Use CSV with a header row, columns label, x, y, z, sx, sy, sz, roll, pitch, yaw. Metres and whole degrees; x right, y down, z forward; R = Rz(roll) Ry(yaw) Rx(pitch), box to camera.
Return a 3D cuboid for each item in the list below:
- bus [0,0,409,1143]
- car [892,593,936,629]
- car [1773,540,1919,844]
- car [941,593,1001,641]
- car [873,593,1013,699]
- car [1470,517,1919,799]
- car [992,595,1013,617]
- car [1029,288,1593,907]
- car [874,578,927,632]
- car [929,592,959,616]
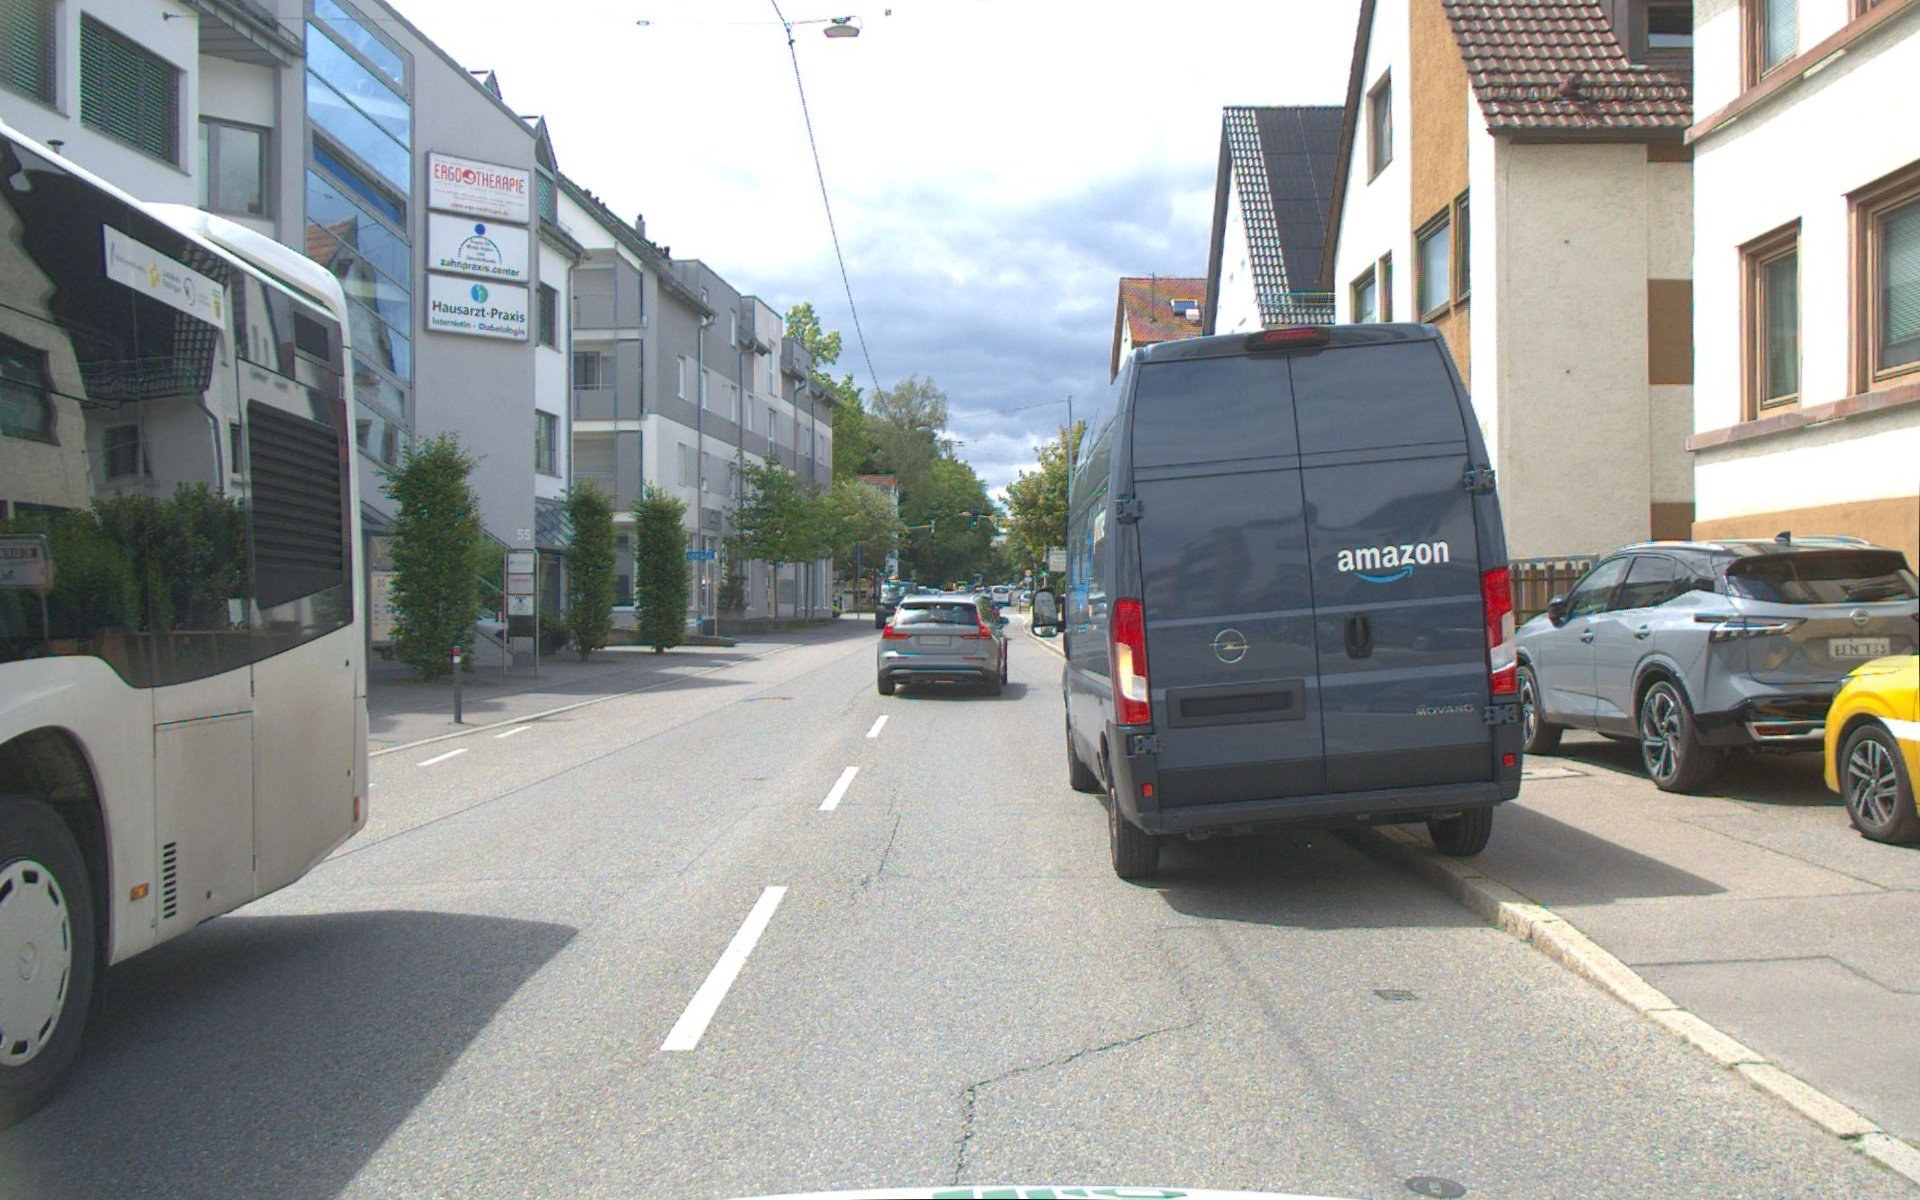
label,x,y,z,sx,sy,sz,roll,pitch,yaw
bus,-3.932,-0.131,4.442,2.662,3.219,8.062,-1,0,-4
car,-2.287,0.513,83.339,2.062,1.739,4.765,-1,0,-1
car,5.658,0.480,7.382,1.839,1.472,4.306,-1,2,-2
car,0.399,0.525,53.894,1.857,1.472,3.969,1,0,2
car,-0.184,0.649,25.515,1.856,1.479,3.970,1,0,4
car,5.407,0.318,12.169,1.823,1.640,4.585,-2,0,-1
car,4.071,0.526,156.811,1.952,2.049,4.001,0,0,2
car,1.752,-0.028,10.445,2.207,2.844,5.567,-1,0,-2
car,-2.520,0.194,71.166,2.062,2.158,4.765,-2,0,-1
car,-1.131,0.260,117.700,2.062,1.624,4.649,-1,0,-1
